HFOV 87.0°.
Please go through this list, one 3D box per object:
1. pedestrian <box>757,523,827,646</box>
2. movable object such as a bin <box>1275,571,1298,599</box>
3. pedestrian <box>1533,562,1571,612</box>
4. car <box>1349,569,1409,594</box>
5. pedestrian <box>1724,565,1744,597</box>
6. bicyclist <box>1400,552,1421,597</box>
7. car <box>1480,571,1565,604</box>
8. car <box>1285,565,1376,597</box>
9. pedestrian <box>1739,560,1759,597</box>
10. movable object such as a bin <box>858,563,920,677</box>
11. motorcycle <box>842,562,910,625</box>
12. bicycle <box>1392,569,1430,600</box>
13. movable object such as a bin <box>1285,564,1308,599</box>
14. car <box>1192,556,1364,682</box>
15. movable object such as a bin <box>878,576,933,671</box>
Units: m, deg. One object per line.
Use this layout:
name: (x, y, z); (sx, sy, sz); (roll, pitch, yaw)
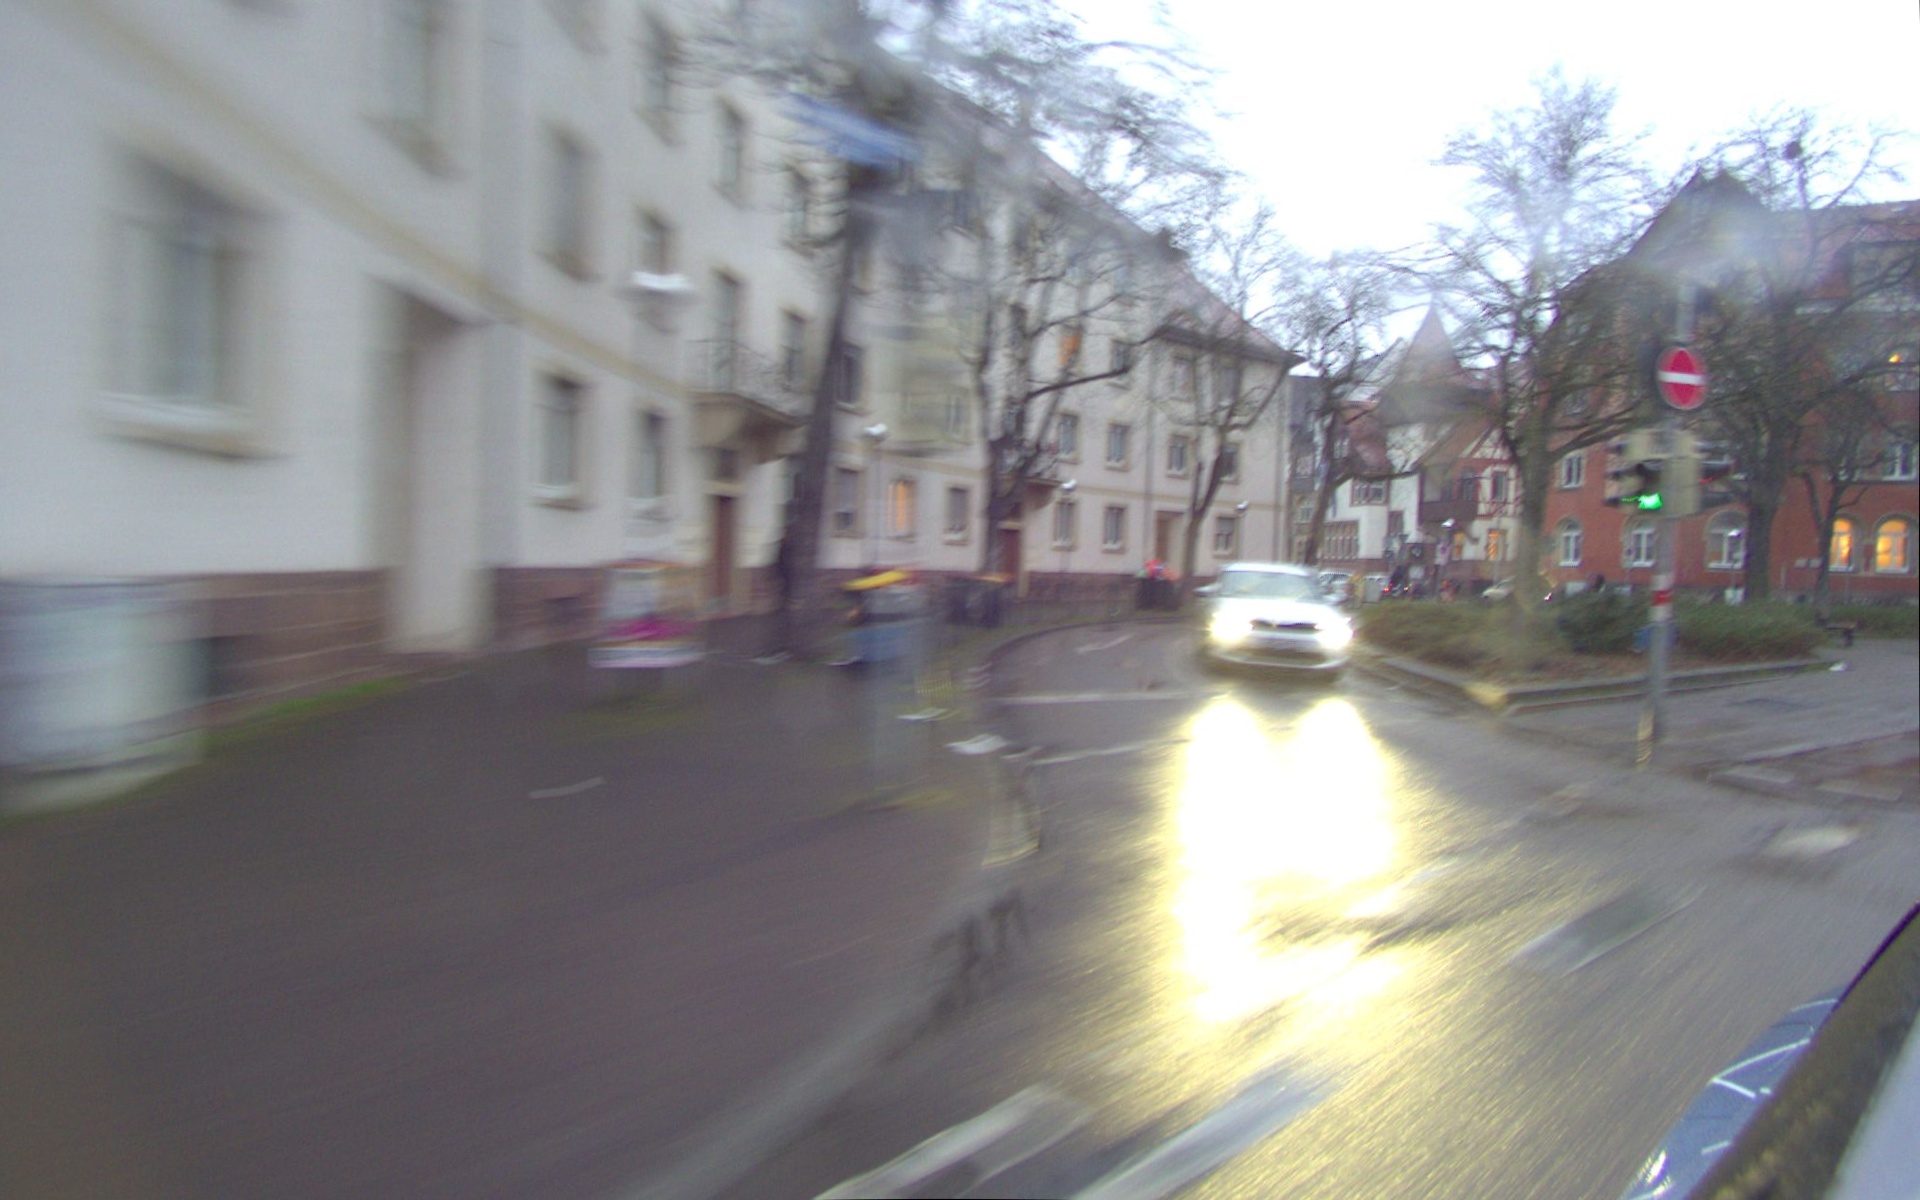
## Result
pedestrian: (-2.379, -0.232, 14.346); (0.679, 1.681, 0.710); (3, 2, 19)
movable object such as a bin: (11.790, -0.542, 36.551); (0.640, 0.992, 0.527); (0, 3, -43)
pedestrian: (22.684, -0.503, 38.796); (0.798, 1.886, 0.879); (2, 2, -4)
car: (27.063, -1.196, 65.488); (1.613, 1.415, 4.009); (2, 3, -11)
pedestrian: (33.300, -0.818, 43.534); (0.598, 1.333, 0.546); (1, 1, -43)
bicyclist: (19.444, -1.114, 43.709); (0.666, 1.909, 0.468); (1, 2, -31)
car: (29.187, -0.672, 52.657); (1.613, 1.514, 4.009); (2, 3, -11)
car: (19.060, -0.991, 52.140); (3.922, 1.504, 1.853); (2, 2, -2)
pedestrian: (33.267, -0.914, 42.672); (0.632, 1.545, 0.546); (1, 1, -41)
movable object such as a bin: (-0.807, 0.222, 11.681); (0.514, 1.267, 0.851); (0, -1, 11)
motorcycle: (-1.604, -0.142, 19.513); (0.563, 1.119, 1.591); (5, 3, 23)
bicycle: (19.558, -0.684, 43.828); (1.876, 1.307, 0.468); (0, 2, -31)
movable object such as a bin: (12.298, -0.676, 37.003); (0.640, 1.243, 0.527); (0, 3, -43)
car: (4.739, 0.141, 15.778); (1.869, 1.528, 4.742); (3, 3, 10)
movable object such as a bin: (-0.664, 0.276, 12.498); (0.530, 1.134, 0.699); (0, -1, 11)
